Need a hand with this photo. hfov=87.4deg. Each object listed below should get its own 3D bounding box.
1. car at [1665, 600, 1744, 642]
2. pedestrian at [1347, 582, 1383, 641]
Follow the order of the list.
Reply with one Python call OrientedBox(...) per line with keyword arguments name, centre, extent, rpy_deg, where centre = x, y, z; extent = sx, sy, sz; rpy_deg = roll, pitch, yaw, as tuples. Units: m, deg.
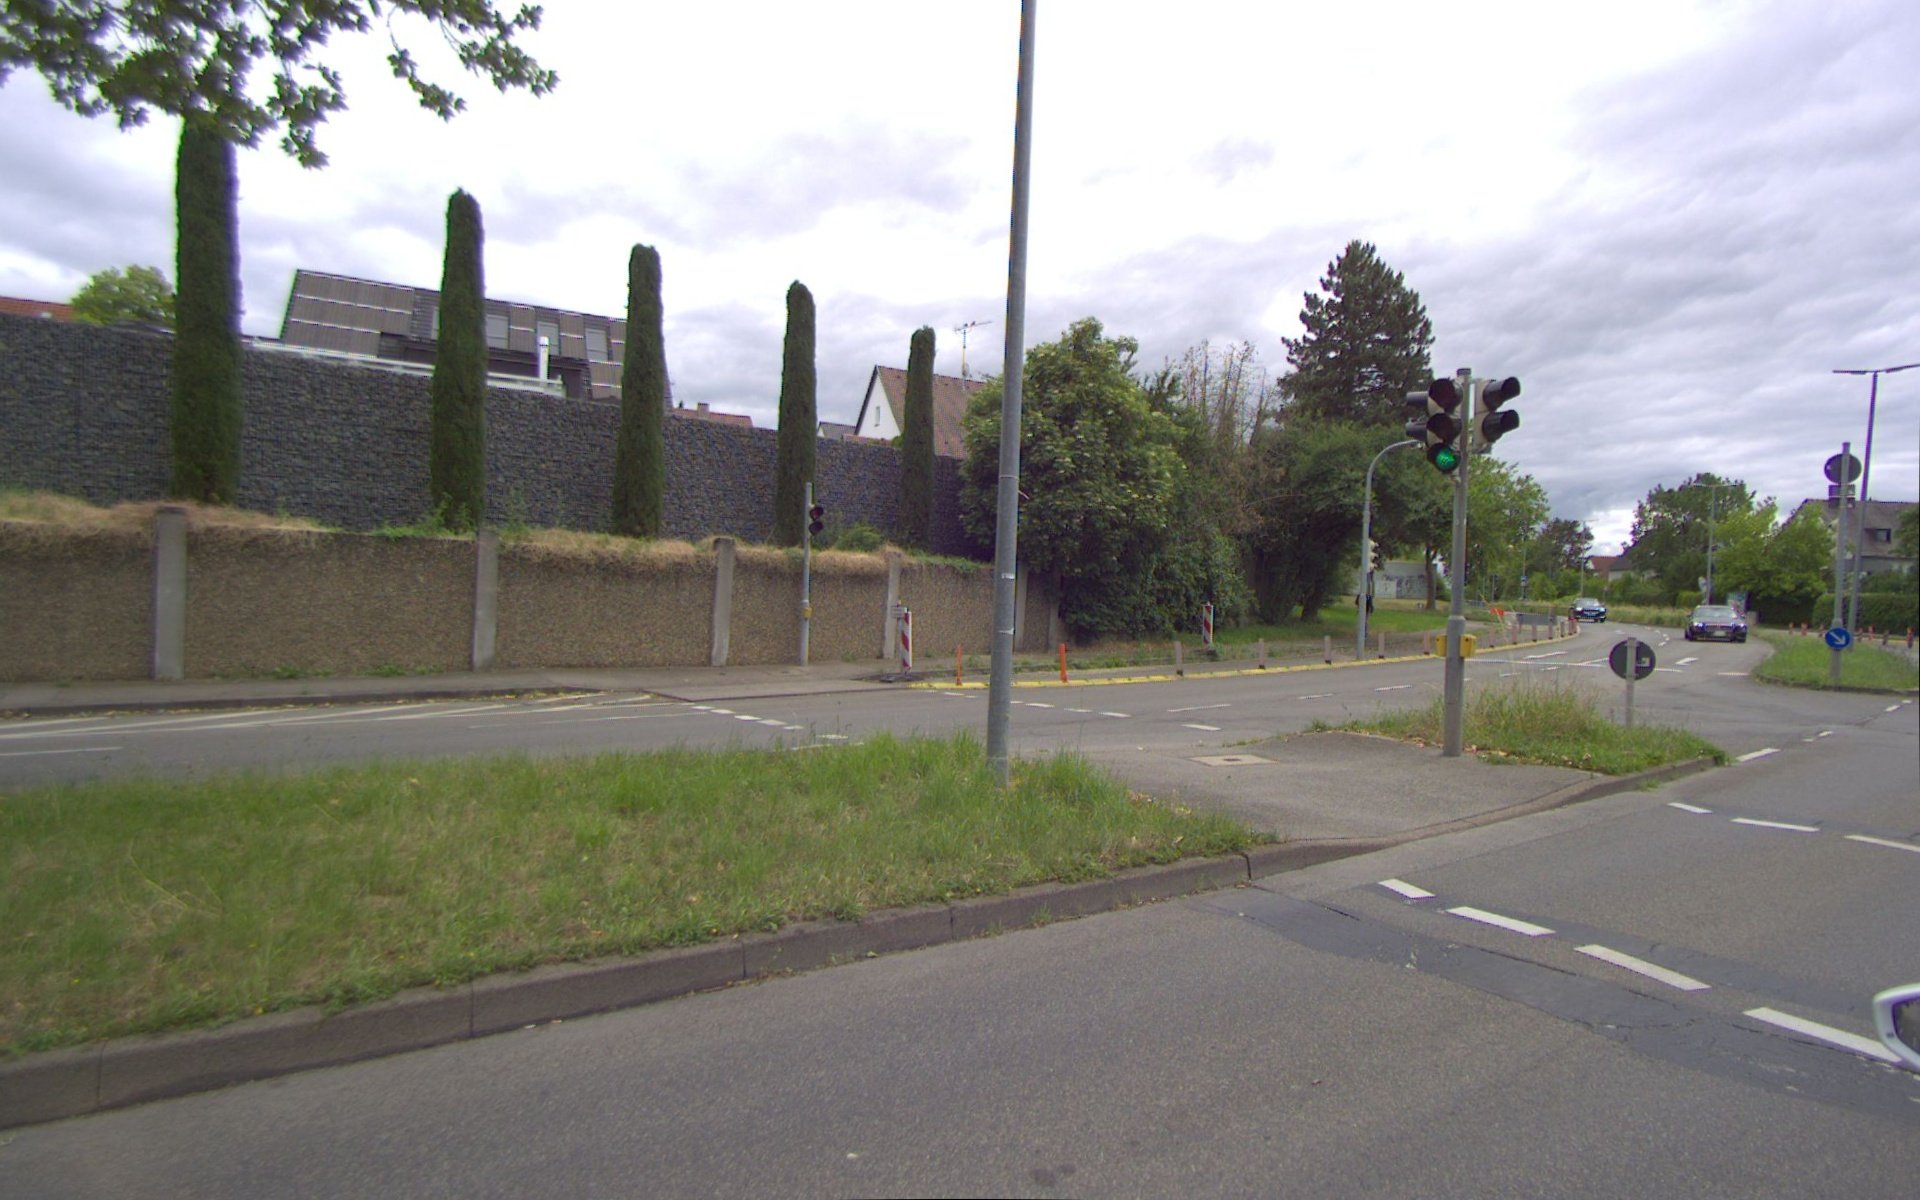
OrientedBox(name="car", centre=(31.254, 0.842, 42.286), extent=(1.811, 1.653, 4.257), rpy_deg=(1, 1, 25))
OrientedBox(name="pedestrian", centre=(14.502, 0.414, 35.943), extent=(0.937, 2.041, 0.852), rpy_deg=(3, 2, 35))
